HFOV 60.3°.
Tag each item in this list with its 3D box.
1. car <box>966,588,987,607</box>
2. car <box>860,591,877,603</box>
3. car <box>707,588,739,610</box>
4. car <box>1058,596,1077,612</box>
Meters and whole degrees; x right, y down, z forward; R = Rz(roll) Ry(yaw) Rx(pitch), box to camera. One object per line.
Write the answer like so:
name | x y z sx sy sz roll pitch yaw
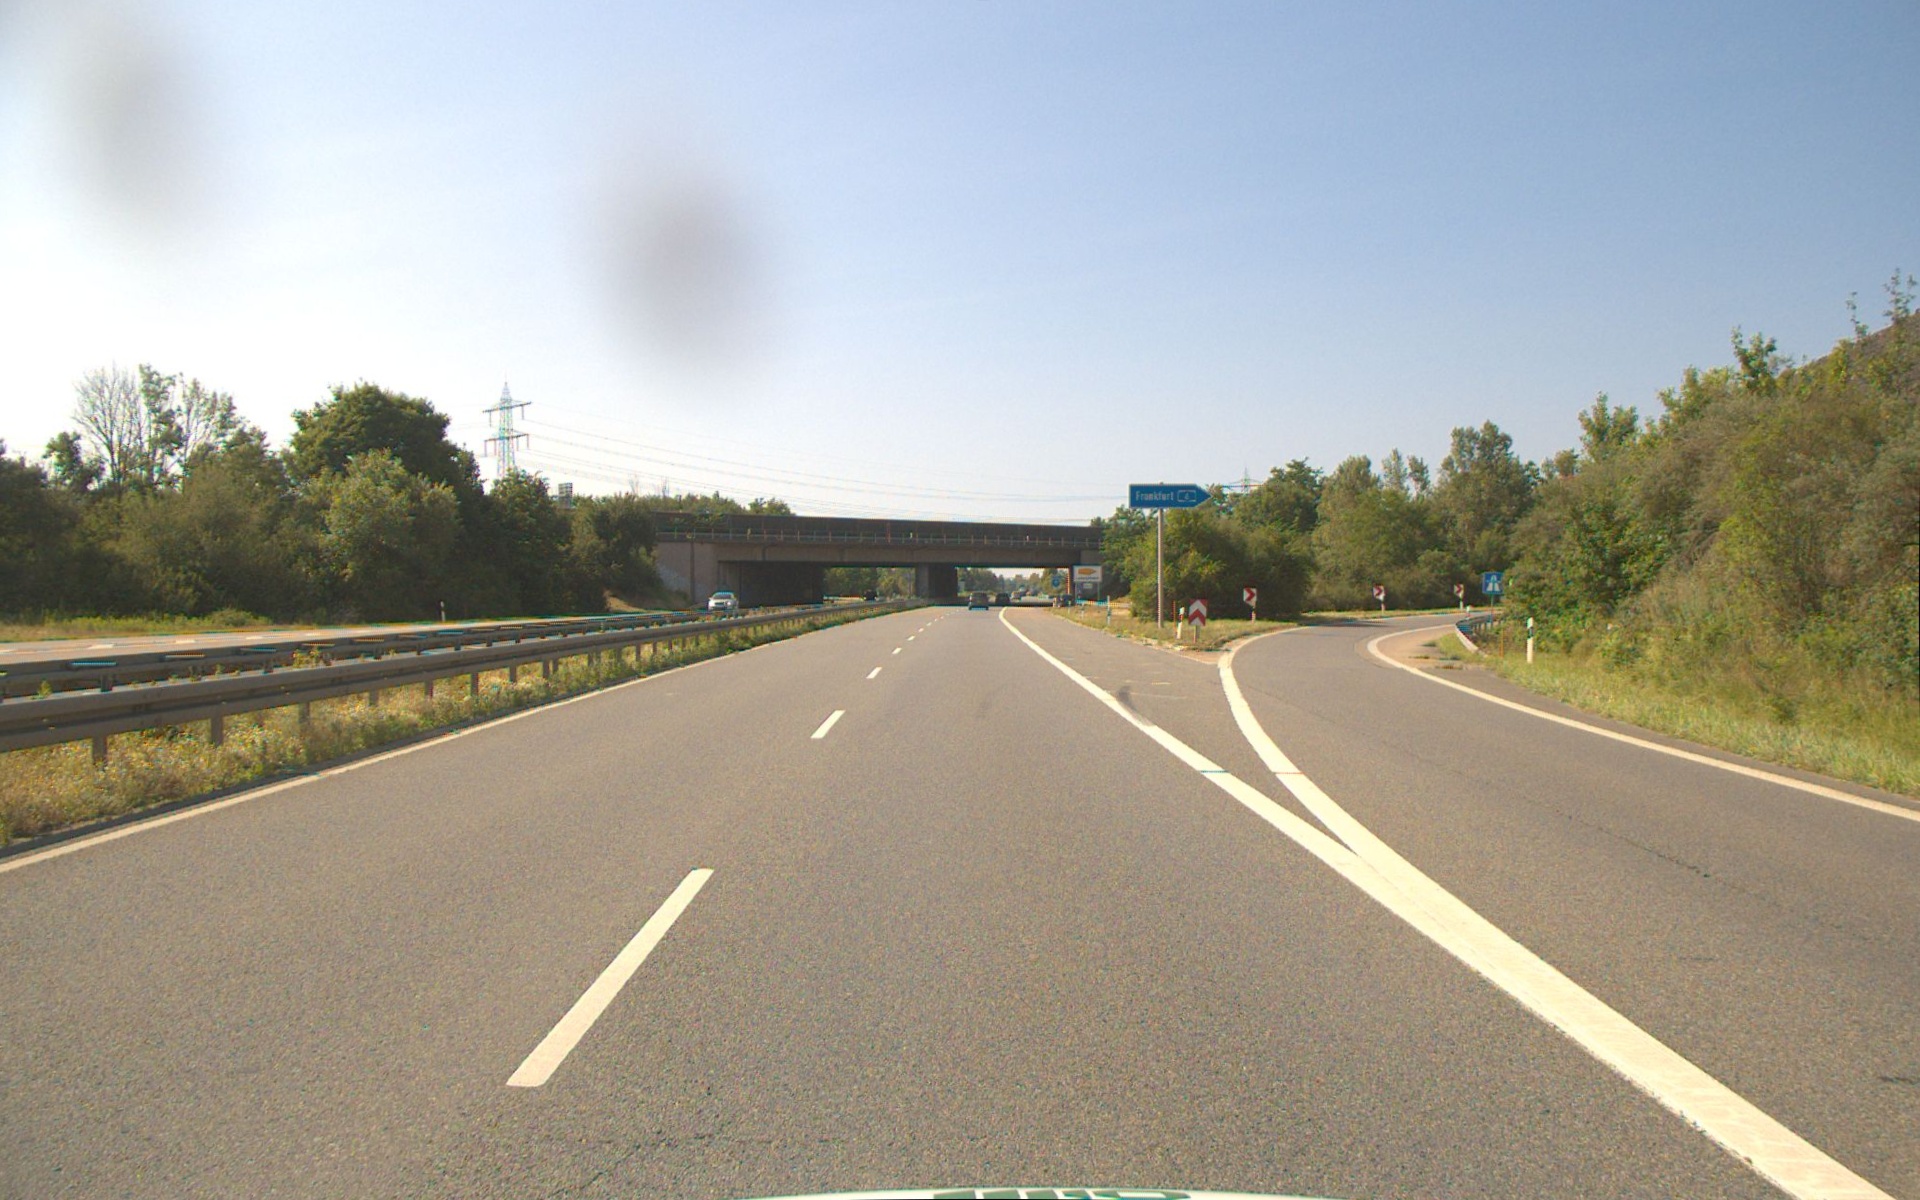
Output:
car | 1.506 -0.201 147.149 1.811 1.673 4.000 1 0 1
car | -11.561 -0.404 210.112 1.922 1.434 3.636 -1 1 0
car | -16.534 -0.096 115.659 1.640 1.434 3.763 2 1 0
car | 11.464 0.402 176.990 1.811 1.673 4.000 1 0 1
